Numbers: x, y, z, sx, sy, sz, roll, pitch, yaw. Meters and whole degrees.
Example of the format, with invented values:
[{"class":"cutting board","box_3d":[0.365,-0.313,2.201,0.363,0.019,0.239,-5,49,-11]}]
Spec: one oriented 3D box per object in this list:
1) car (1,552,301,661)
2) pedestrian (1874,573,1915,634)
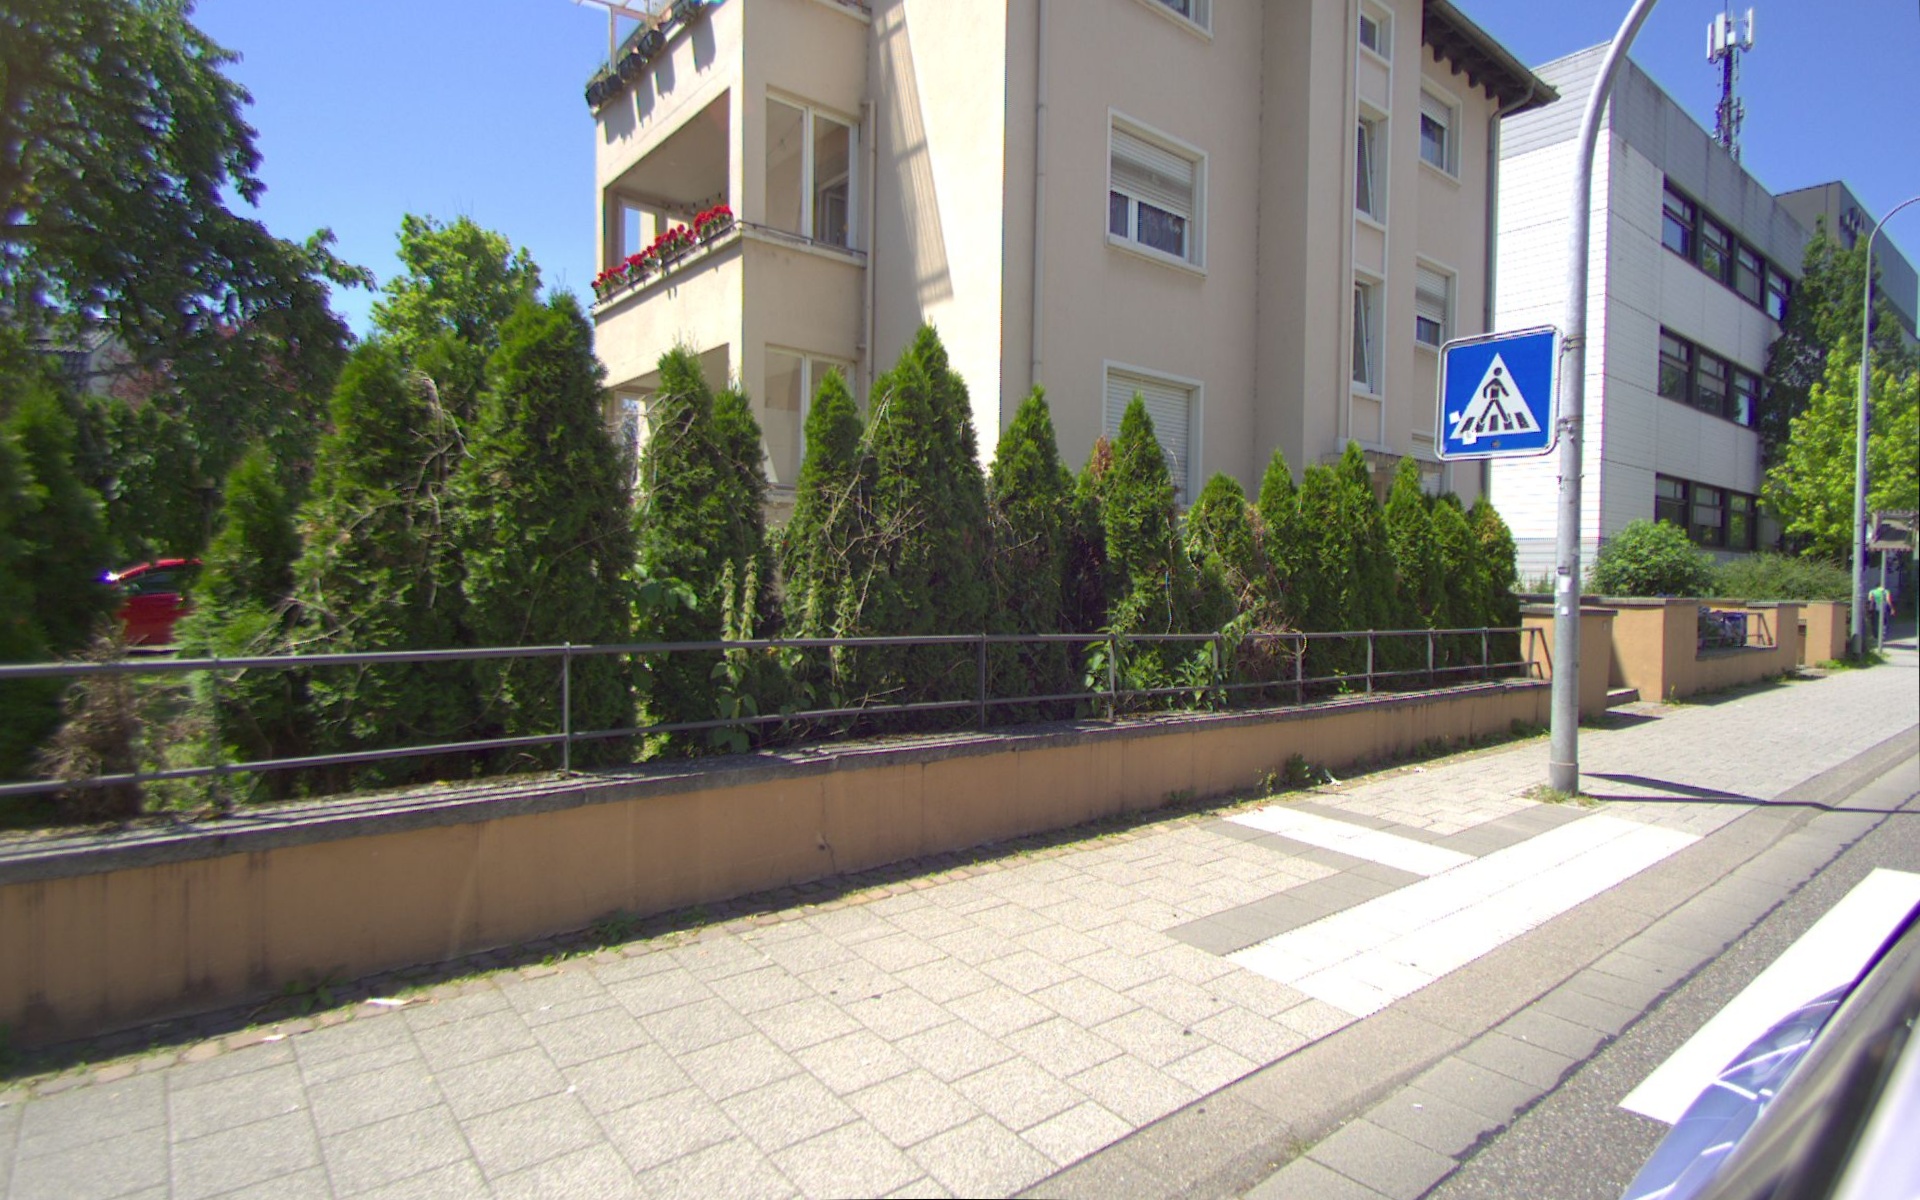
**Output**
[{"class":"car","box_3d":[-12.312,0.042,15.518,1.609,1.477,3.447,3,2,45]},{"class":"pedestrian","box_3d":[27.378,0.078,29.654,1.031,1.720,0.681,-1,3,-39]}]
